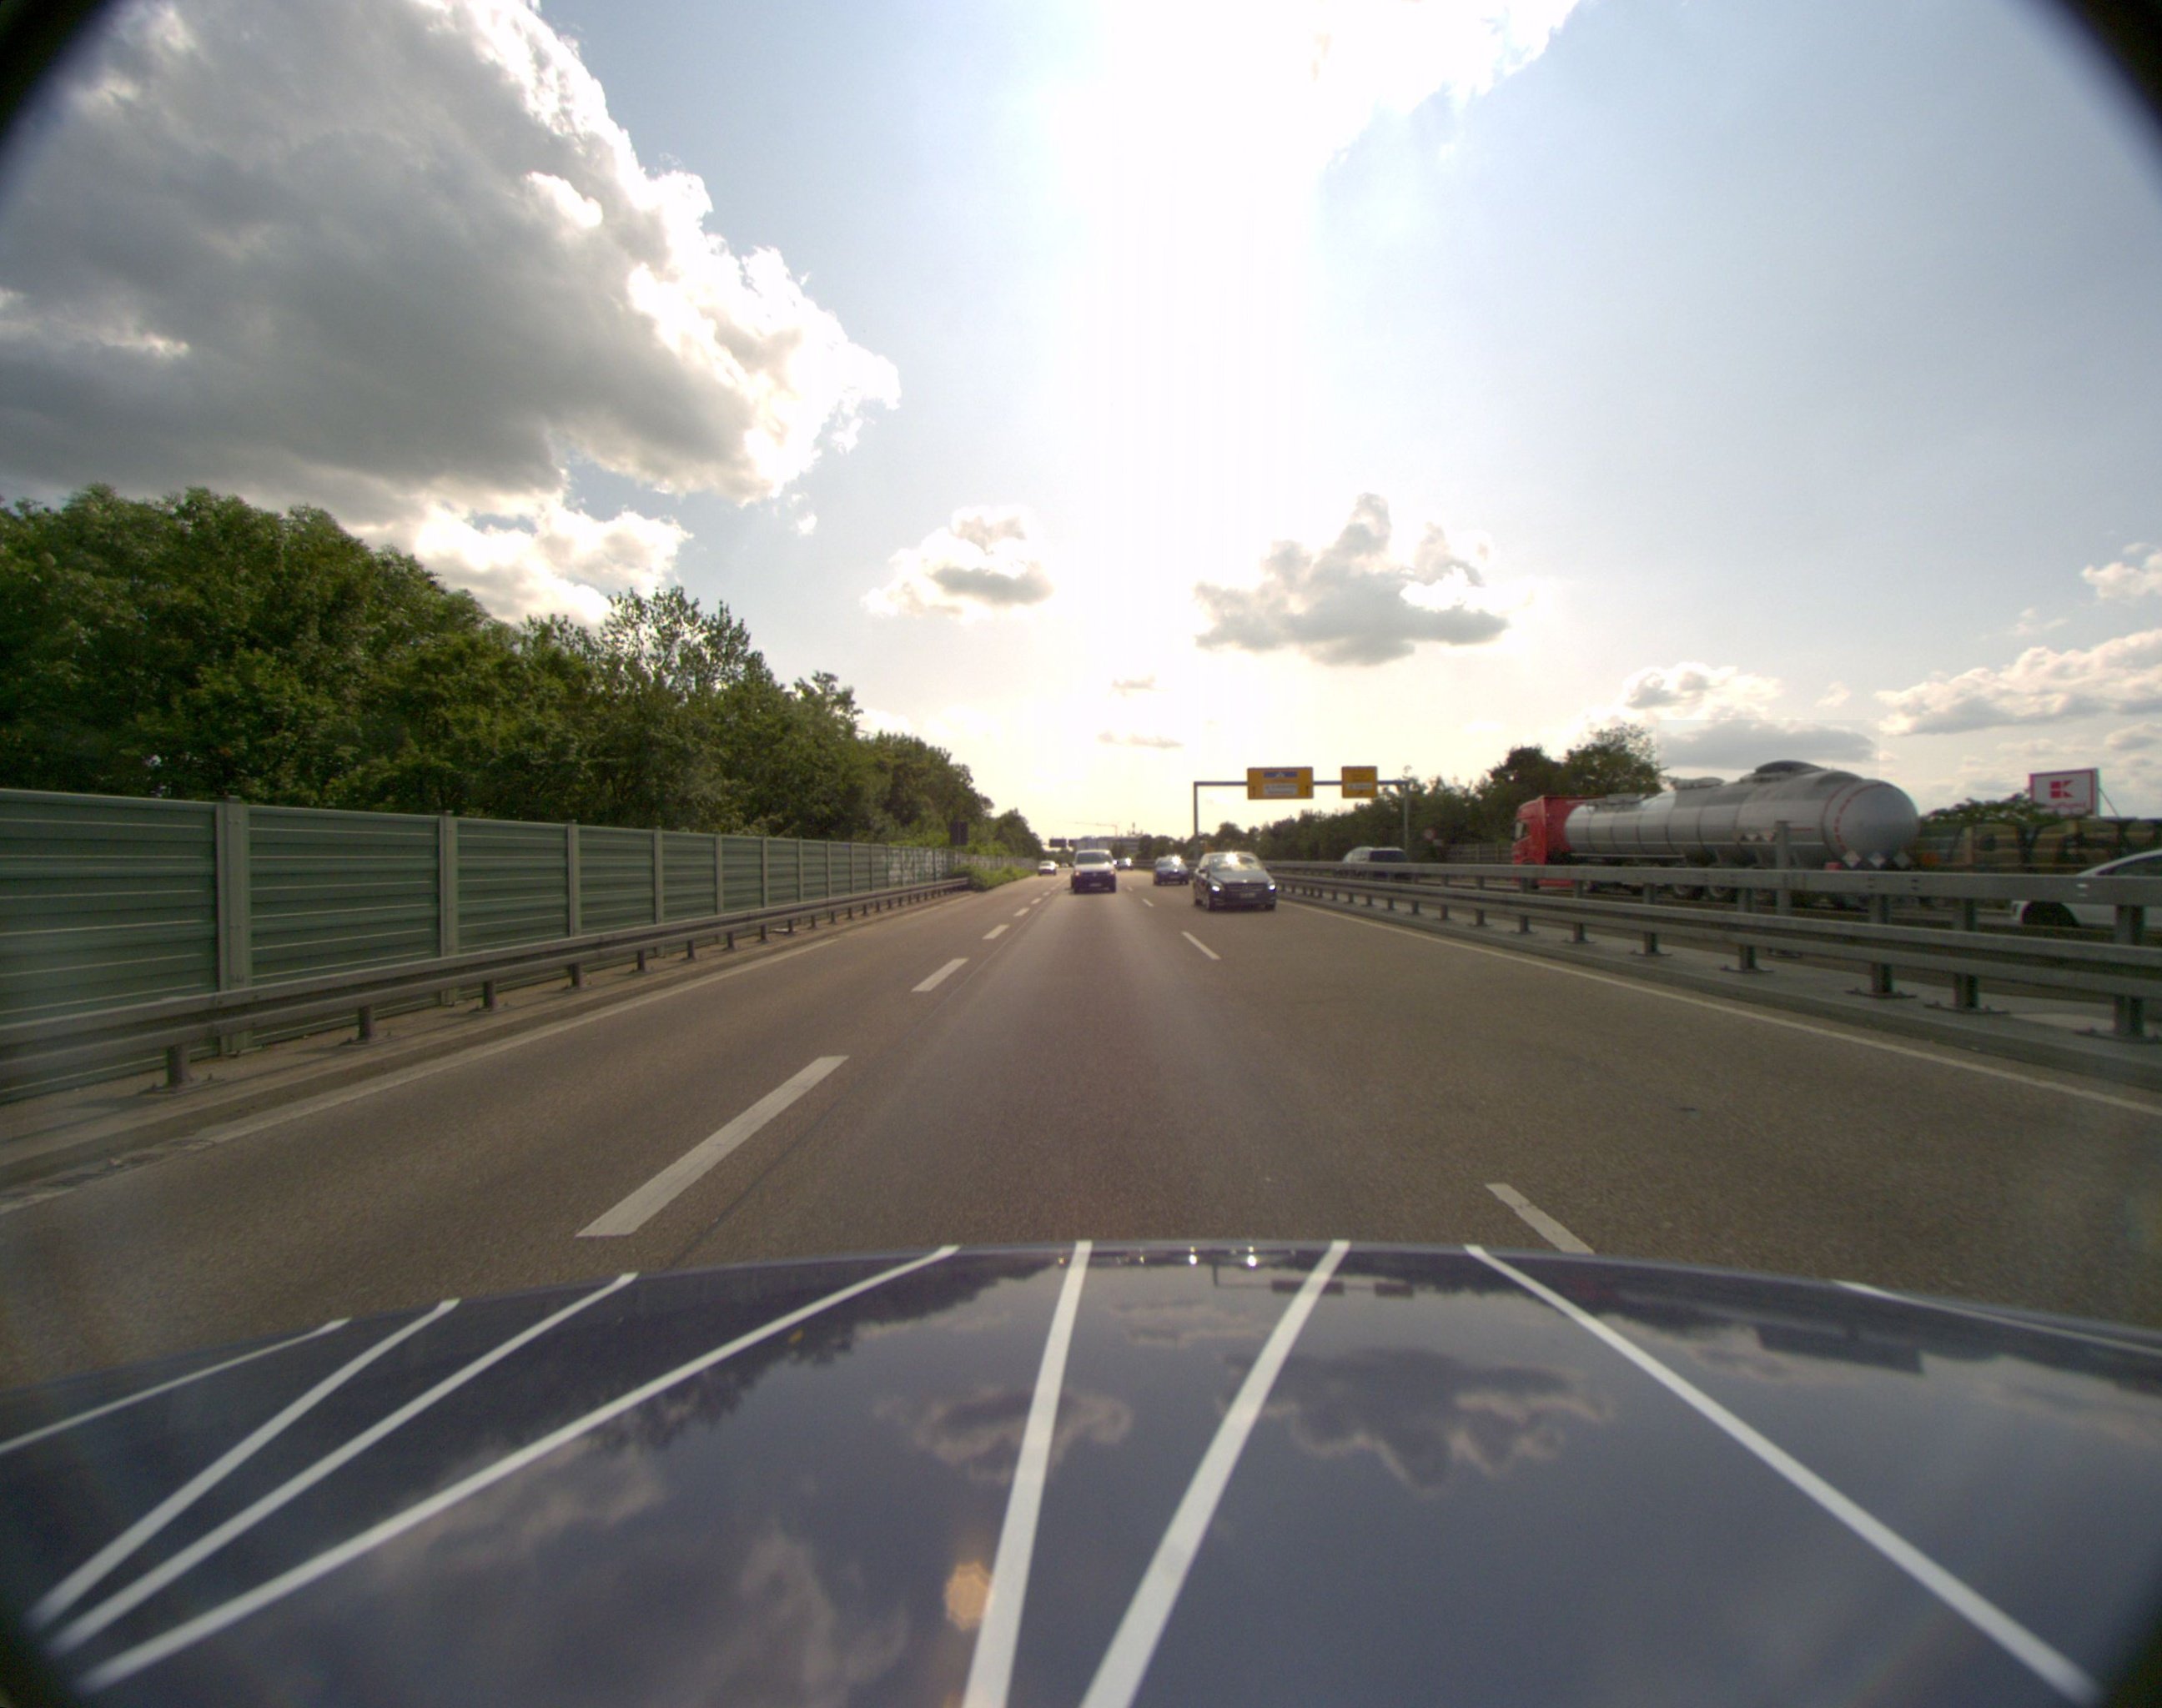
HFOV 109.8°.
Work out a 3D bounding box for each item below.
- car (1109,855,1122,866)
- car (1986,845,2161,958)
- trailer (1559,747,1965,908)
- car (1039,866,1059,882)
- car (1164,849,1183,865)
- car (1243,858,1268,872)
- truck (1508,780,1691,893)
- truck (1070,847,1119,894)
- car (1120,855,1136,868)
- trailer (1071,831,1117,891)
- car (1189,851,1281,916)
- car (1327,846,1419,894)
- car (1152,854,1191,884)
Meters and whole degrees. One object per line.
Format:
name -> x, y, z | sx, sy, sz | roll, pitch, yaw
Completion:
car -> 5.465, 1.015, 121.293 | 1.895, 1.518, 4.465 | -2, 0, 1
car -> 15.853, 0.651, 10.575 | 1.787, 1.500, 3.959 | -2, 1, 1
trailer -> 19.293, -0.656, 23.183 | 2.691, 3.648, 11.028 | -2, 0, 2
car -> -3.233, 2.015, 77.215 | 1.768, 1.403, 3.771 | -2, 1, 1
car -> 13.085, 0.376, 107.620 | 2.084, 1.978, 5.227 | -1, 2, 1
car -> 19.597, 1.198, 85.589 | 1.693, 1.423, 4.401 | -2, 0, -2
truck -> 19.418, -0.624, 29.004 | 2.654, 3.760, 6.232 | -2, 1, 1
truck -> 0.588, 0.668, 33.448 | 2.008, 1.905, 4.000 | -1, 0, 1
car -> 5.755, 0.916, 93.412 | 1.779, 1.518, 4.465 | -2, 0, 1
trailer -> 0.637, 0.294, 38.497 | 1.998, 2.723, 5.966 | -2, 1, 1
car -> 4.195, 0.735, 21.375 | 1.716, 1.518, 4.592 | -2, 0, 1
car -> 11.896, 0.582, 31.306 | 1.998, 1.740, 4.596 | -2, 1, 1
car -> 4.703, 0.759, 40.049 | 1.625, 1.403, 3.771 | -2, 1, 1
